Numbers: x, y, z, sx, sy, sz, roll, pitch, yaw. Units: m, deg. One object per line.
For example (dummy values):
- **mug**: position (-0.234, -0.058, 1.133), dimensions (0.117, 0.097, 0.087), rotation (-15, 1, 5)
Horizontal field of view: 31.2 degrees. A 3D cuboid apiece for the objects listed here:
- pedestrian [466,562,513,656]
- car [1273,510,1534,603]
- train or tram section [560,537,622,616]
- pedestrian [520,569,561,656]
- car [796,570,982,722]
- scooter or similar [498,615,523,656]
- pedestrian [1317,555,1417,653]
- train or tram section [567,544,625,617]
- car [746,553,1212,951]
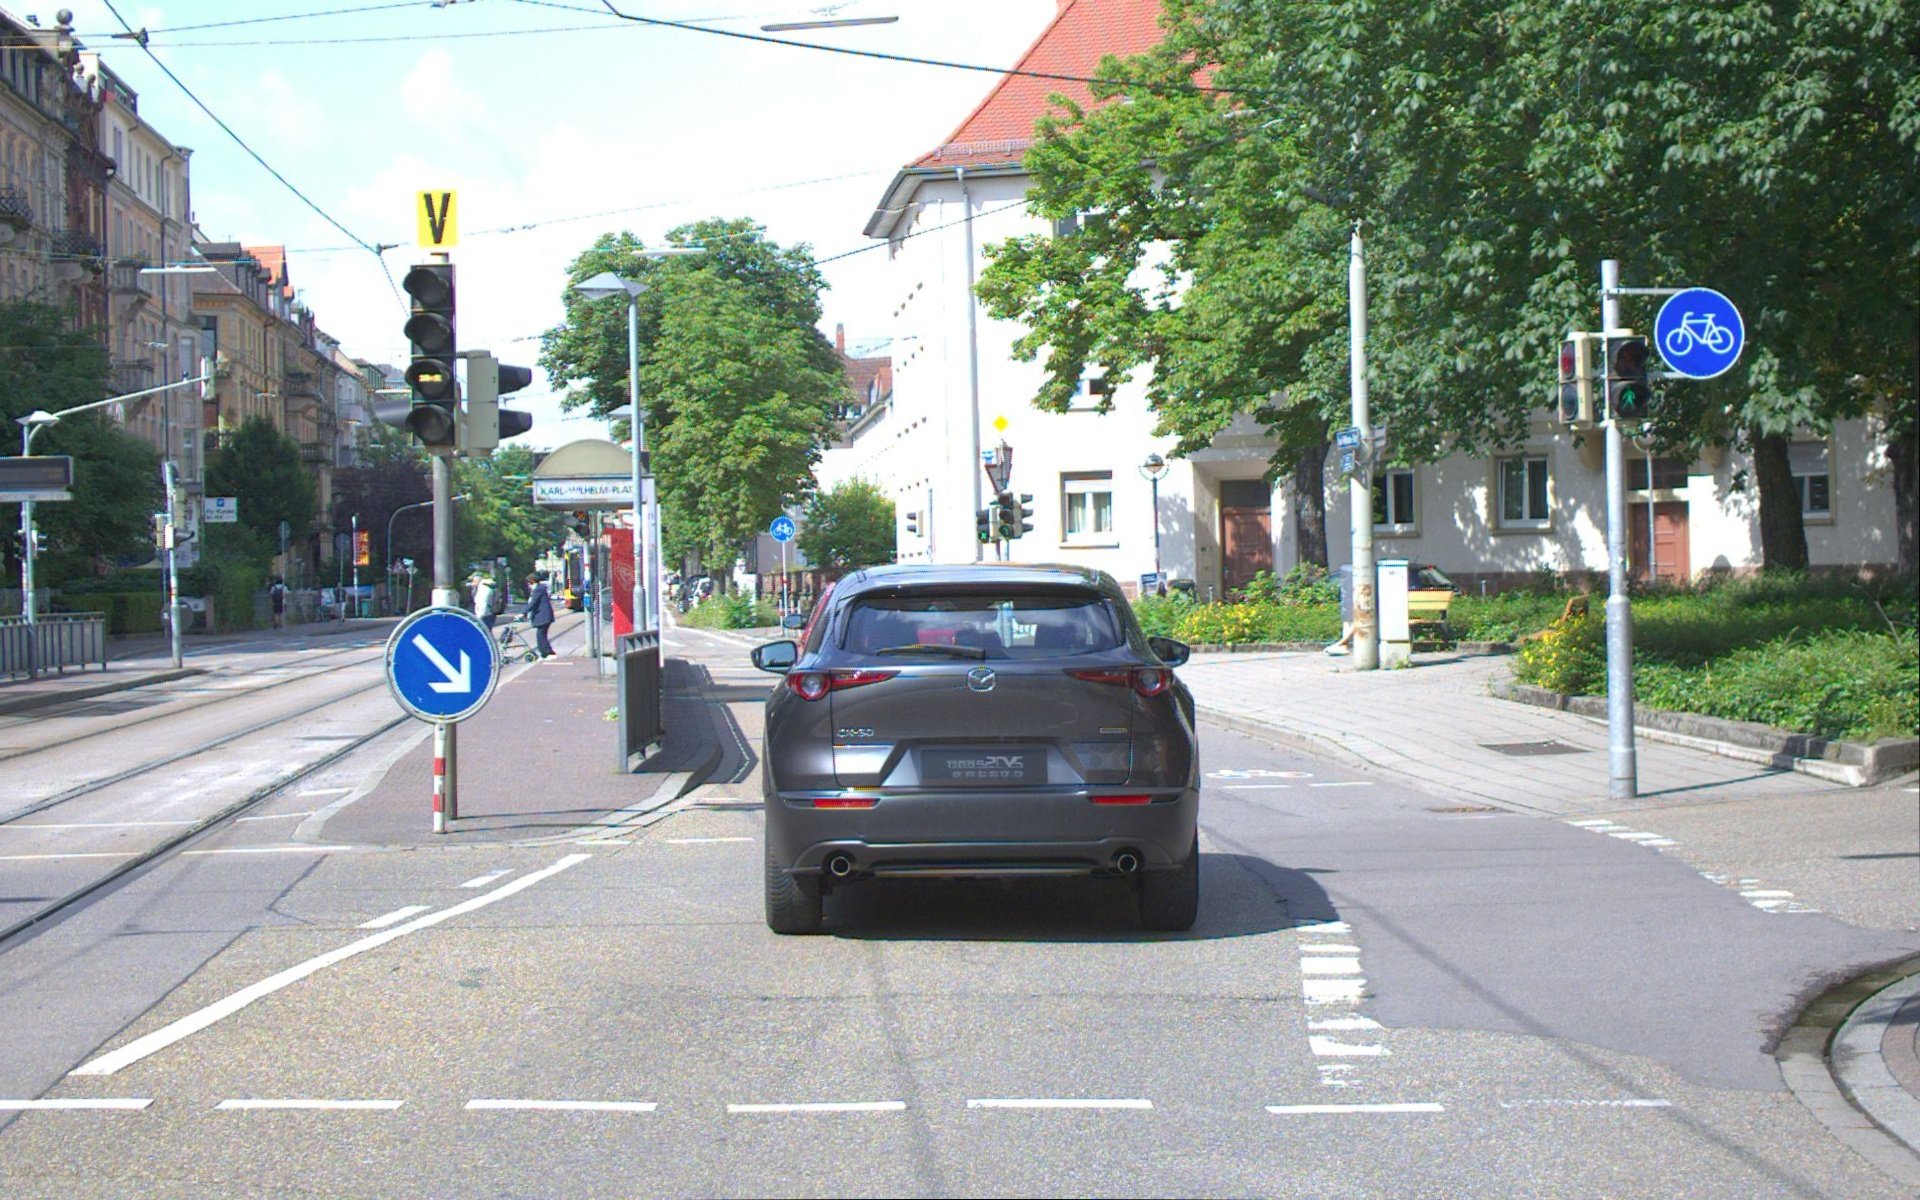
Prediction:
- **pedestrian**: position (-8.455, 0.161, 61.756), dimensions (0.770, 1.669, 0.668), rotation (-1, 0, -5)
- **car**: position (7.824, -0.762, 60.811), dimensions (4.167, 1.504, 1.848), rotation (-1, 2, 38)
- **train or tram section**: position (-19.786, -1.181, 185.018), dimensions (2.997, 3.970, 13.811), rotation (-1, 0, -5)
- **pedestrian**: position (-7.450, 0.219, 61.068), dimensions (0.667, 1.540, 0.581), rotation (-1, 0, -5)
- **car**: position (-0.775, 0.430, 35.081), dimensions (1.775, 1.459, 3.843), rotation (0, 0, -3)
- **scooter or similar**: position (-7.985, 0.626, 61.040), dimensions (0.414, 0.718, 0.486), rotation (-1, 0, -5)
- **pedestrian**: position (5.595, 0.055, 47.327), dimensions (1.192, 1.265, 0.558), rotation (-3, 1, -9)
- **train or tram section**: position (-20.989, -1.034, 198.797), dimensions (2.997, 3.970, 13.811), rotation (-1, 0, -5)
- **car**: position (0.052, 0.586, 15.315), dimensions (1.782, 1.509, 4.000), rotation (1, 0, -1)
